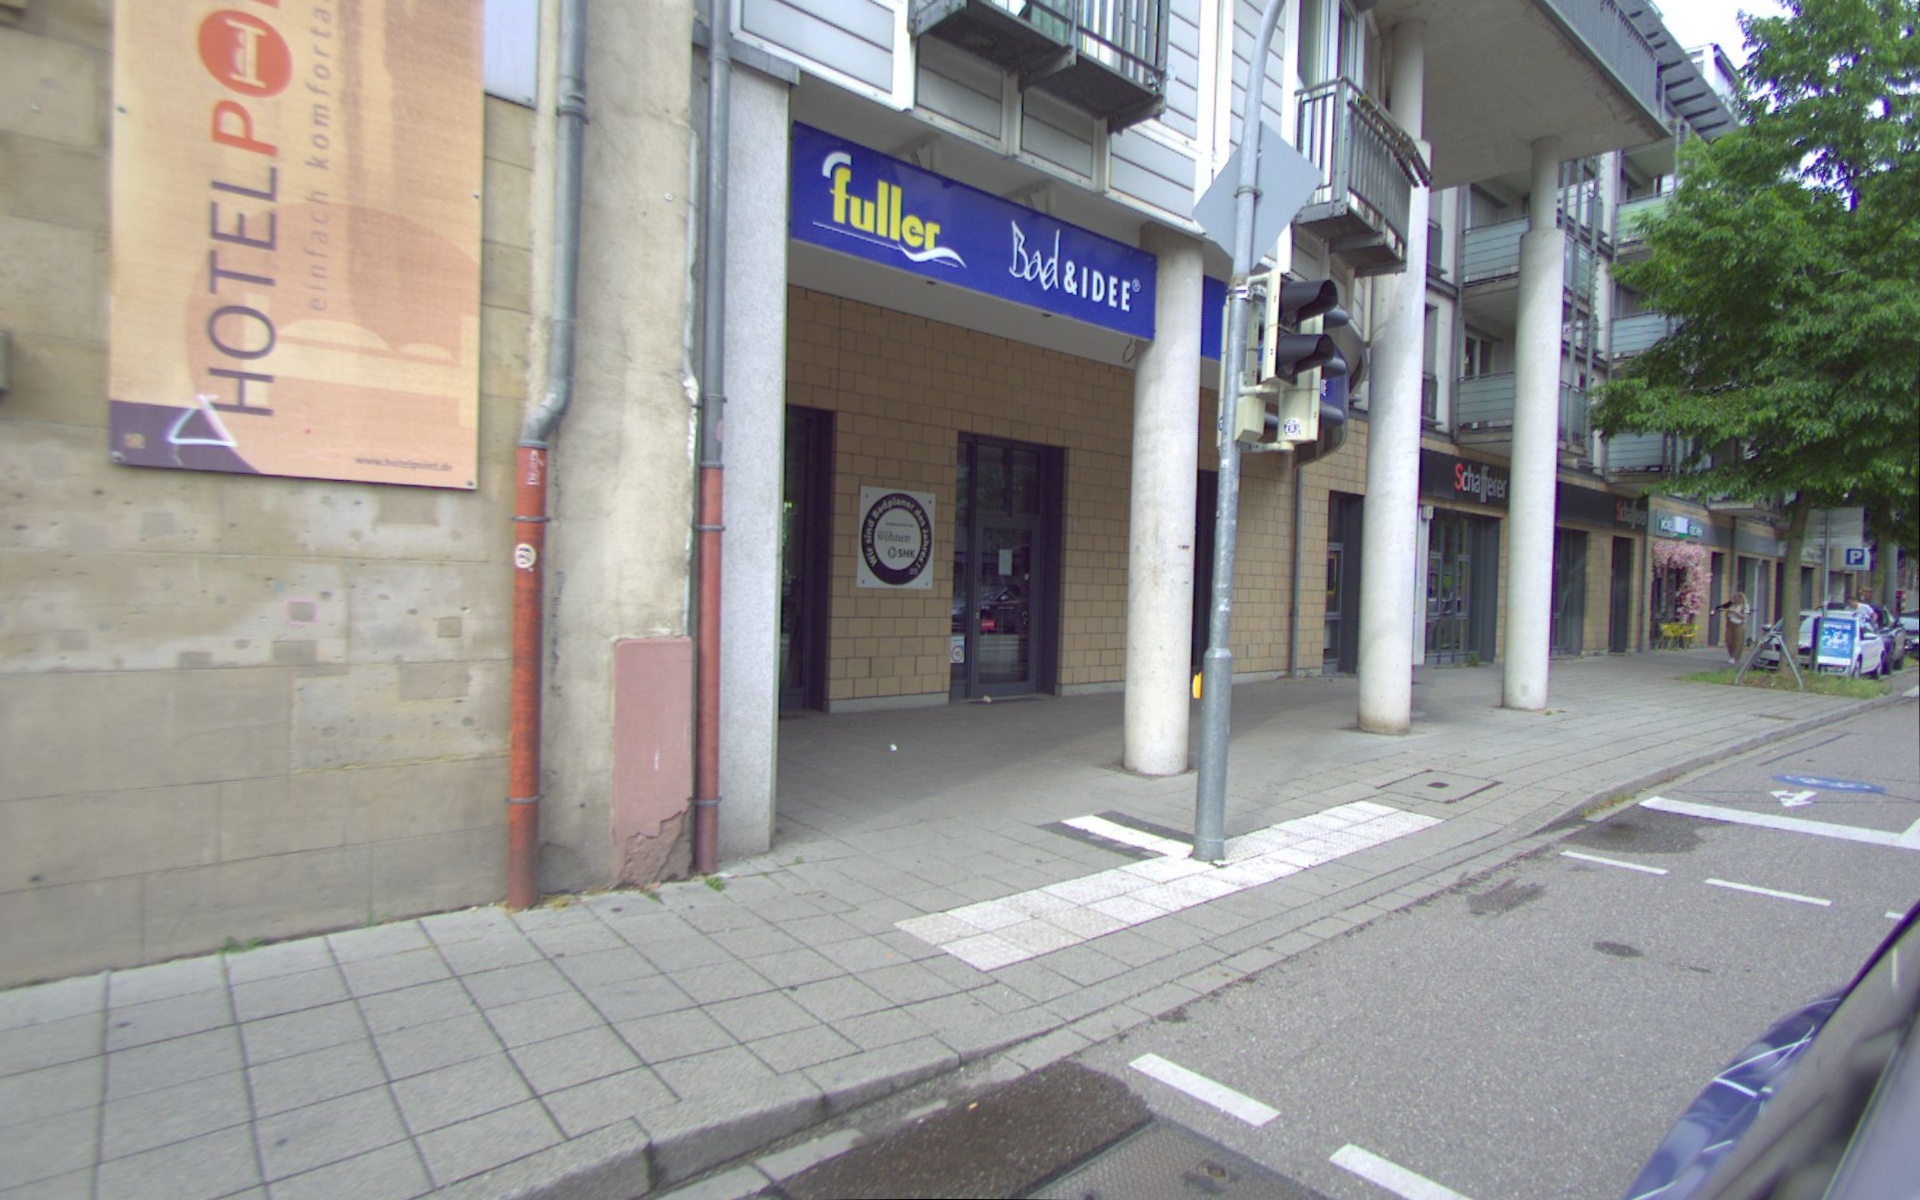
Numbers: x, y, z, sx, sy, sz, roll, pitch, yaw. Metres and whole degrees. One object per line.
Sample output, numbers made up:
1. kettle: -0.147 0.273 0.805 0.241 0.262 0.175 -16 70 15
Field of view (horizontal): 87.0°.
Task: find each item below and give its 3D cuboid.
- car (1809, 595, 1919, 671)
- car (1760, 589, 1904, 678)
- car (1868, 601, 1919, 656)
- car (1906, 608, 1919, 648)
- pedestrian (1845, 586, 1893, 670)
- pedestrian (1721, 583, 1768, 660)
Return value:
1. car: 23.099 0.780 25.662 3.873 1.682 1.730 1 3 -40
2. car: 19.276 0.676 22.329 4.031 1.682 1.730 1 4 -40
3. car: 29.792 0.873 31.536 3.873 1.564 1.684 1 3 -40
4. car: 35.588 1.033 36.464 3.748 1.400 1.730 1 3 -40
5. pedestrian: 21.473 0.645 23.909 0.630 1.958 0.655 1 0 -25
6. pedestrian: 18.926 0.504 24.408 0.825 1.828 0.744 1 0 -41
